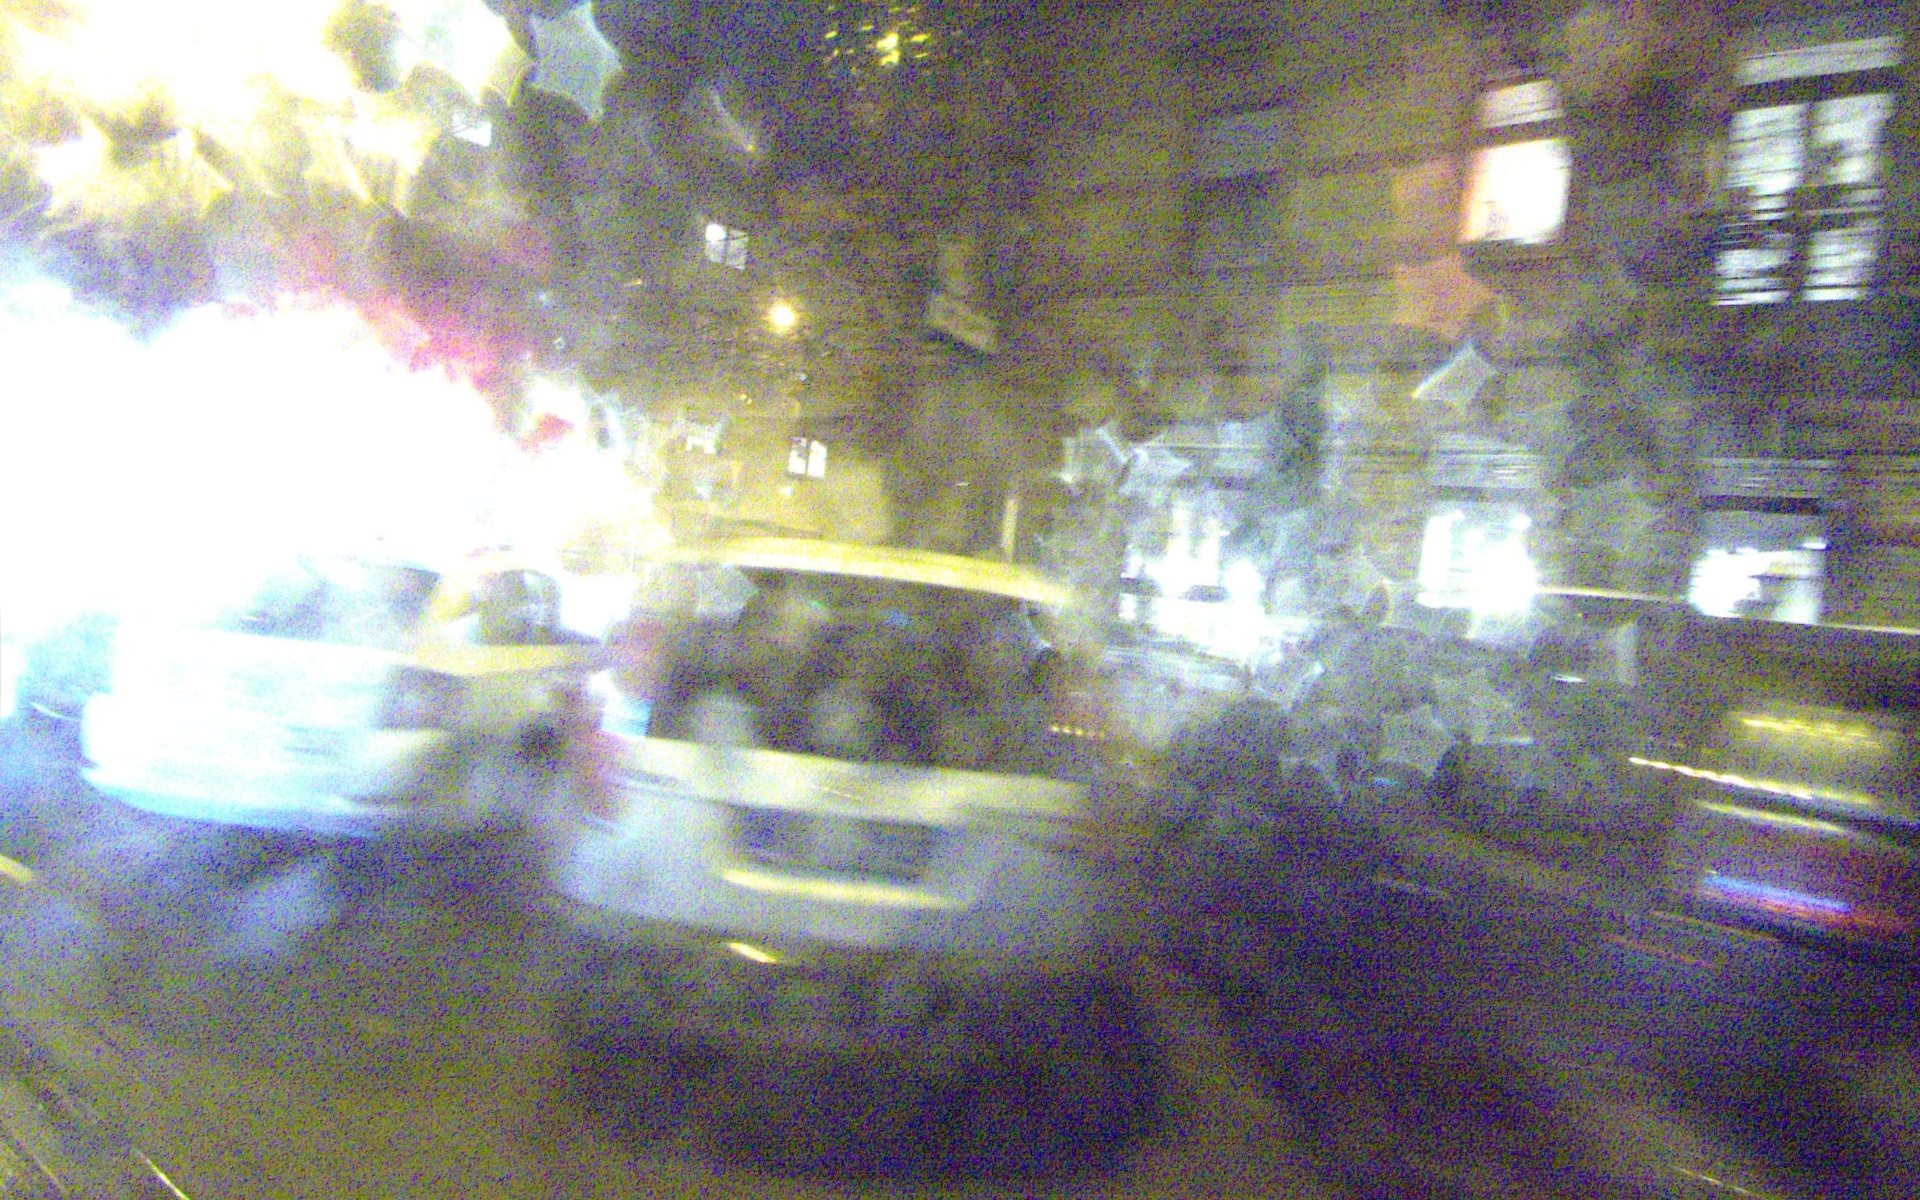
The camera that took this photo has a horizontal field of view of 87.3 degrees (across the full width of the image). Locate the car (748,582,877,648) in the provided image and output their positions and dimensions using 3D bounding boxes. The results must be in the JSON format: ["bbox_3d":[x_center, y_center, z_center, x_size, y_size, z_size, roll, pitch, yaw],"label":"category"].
[{"bbox_3d":[-4.726,0.466,32.182,3.631,1.595,1.755,6,-2,31],"label":"car"}]

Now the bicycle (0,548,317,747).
[{"bbox_3d":[-5.035,0.303,6.270,1.620,1.039,0.335,7,2,-15],"label":"bicycle"}]

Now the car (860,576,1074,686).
[{"bbox_3d":[-0.011,0.599,22.087,1.982,1.783,5.049,8,-1,-35],"label":"car"}]

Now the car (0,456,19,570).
[{"bbox_3d":[-16.368,-1.507,15.279,2.110,1.945,4.782,8,-1,-34],"label":"car"}]

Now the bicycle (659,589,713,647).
[{"bbox_3d":[-5.481,0.338,20.078,0.400,1.020,1.795,8,-2,-33],"label":"bicycle"}]

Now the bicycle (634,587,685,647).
[{"bbox_3d":[-5.958,0.315,19.888,0.376,1.021,1.794,7,1,-33],"label":"bicycle"}]

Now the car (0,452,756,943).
[{"bbox_3d":[-2.672,0.326,5.762,1.738,1.594,4.262,6,1,4],"label":"car"}]

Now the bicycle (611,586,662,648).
[{"bbox_3d":[-6.341,0.310,19.656,0.399,1.021,1.794,7,1,-33],"label":"bicycle"}]

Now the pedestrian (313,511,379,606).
[{"bbox_3d":[-12.986,-0.860,21.299,0.867,1.856,0.979,6,0,-22],"label":"pedestrian"}]

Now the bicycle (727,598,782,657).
[{"bbox_3d":[-4.269,0.544,20.807,0.399,1.021,1.794,7,1,-33],"label":"bicycle"}]

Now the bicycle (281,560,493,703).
[{"bbox_3d":[-4.891,0.262,8.599,1.615,1.040,0.336,6,2,6],"label":"bicycle"}]

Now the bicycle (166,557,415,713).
[{"bbox_3d":[-5.001,0.261,7.540,1.615,1.039,0.336,4,0,2],"label":"bicycle"}]

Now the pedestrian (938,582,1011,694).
[{"bbox_3d":[0.247,0.659,17.446,0.783,1.839,0.803,5,0,-33],"label":"pedestrian"}]

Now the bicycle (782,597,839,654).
[{"bbox_3d":[-3.168,0.525,21.196,0.399,1.021,1.761,7,1,-33],"label":"bicycle"}]

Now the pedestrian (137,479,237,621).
[{"bbox_3d":[-10.495,-0.671,13.668,0.592,1.792,0.825,7,-1,44],"label":"pedestrian"}]

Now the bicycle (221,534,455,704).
[{"bbox_3d":[-4.888,0.143,7.923,1.615,1.106,0.336,7,2,6],"label":"bicycle"}]

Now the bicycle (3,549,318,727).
[{"bbox_3d":[-5.274,0.256,6.700,1.619,1.040,0.335,5,2,-13],"label":"bicycle"}]

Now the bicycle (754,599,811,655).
[{"bbox_3d":[-3.737,0.552,21.059,0.400,1.020,1.795,8,-2,-33],"label":"bicycle"}]

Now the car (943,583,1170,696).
[{"bbox_3d":[2.034,0.823,23.265,1.982,1.912,5.496,8,-1,-35],"label":"car"}]

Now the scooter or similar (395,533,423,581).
[{"bbox_3d":[-15.502,-1.212,28.326,0.521,1.244,1.303,8,0,-28],"label":"scooter or similar"}]

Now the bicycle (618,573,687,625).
[{"bbox_3d":[-8.562,-0.006,28.084,0.444,1.190,1.964,7,-2,29],"label":"bicycle"}]

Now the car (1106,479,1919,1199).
[{"bbox_3d":[1.740,0.786,3.095,1.717,1.735,3.790,6,1,-2],"label":"car"}]

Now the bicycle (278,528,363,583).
[{"bbox_3d":[-16.915,-1.171,26.653,1.767,1.188,0.381,8,0,-30],"label":"bicycle"}]

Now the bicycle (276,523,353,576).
[{"bbox_3d":[-17.648,-1.373,27.554,1.630,1.187,0.381,9,-3,-30],"label":"bicycle"}]

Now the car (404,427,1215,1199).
[{"bbox_3d":[-0.424,0.530,4.235,1.739,1.735,3.736,6,1,-2],"label":"car"}]
